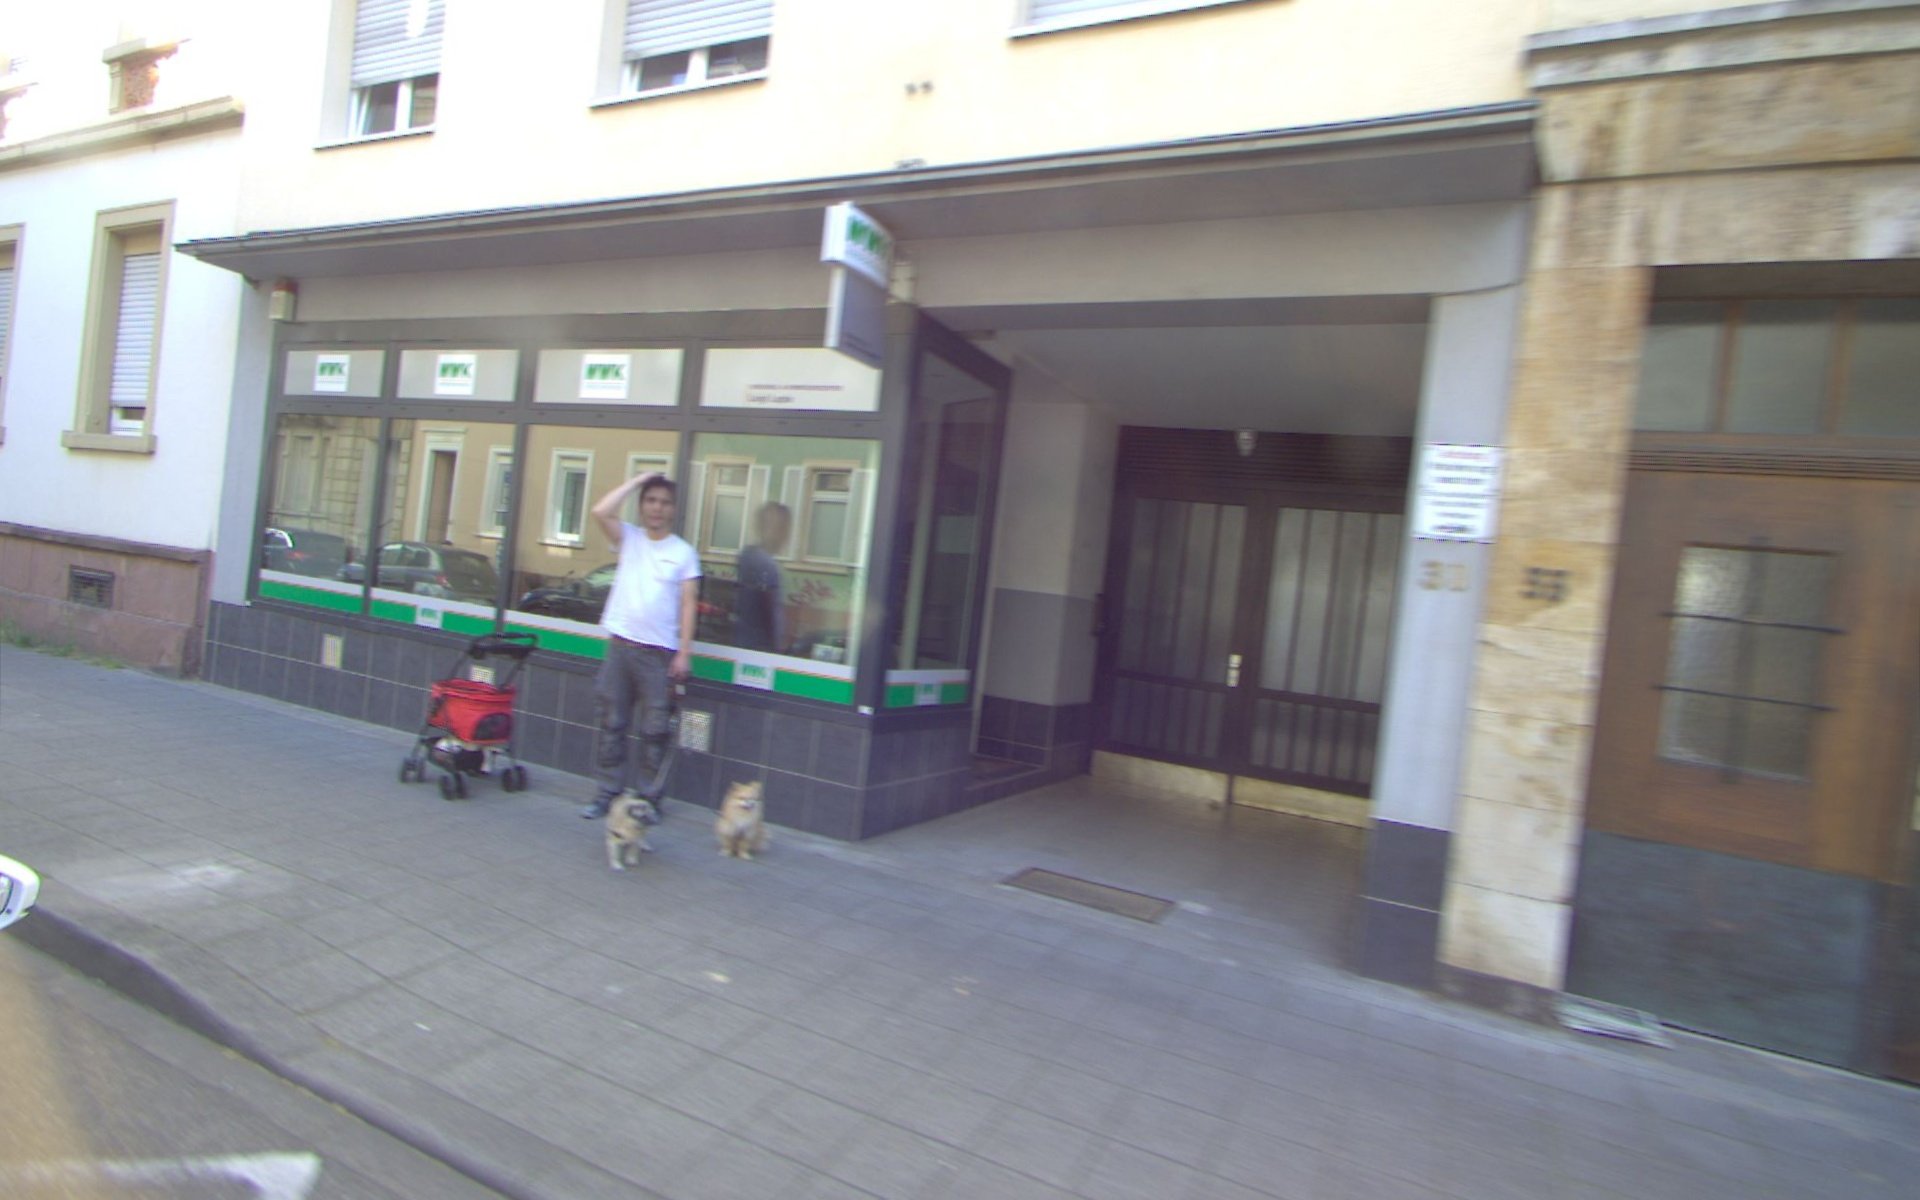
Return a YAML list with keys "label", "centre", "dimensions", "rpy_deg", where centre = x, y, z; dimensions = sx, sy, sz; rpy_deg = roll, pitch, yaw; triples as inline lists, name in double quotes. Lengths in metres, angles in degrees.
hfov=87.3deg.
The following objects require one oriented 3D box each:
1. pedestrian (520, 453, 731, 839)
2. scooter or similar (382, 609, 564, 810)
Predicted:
- label: "pedestrian"
  centre: [-1.774, 0.228, 5.412]
  dimensions: [0.734, 1.885, 0.650]
  rpy_deg: [6, 3, 5]
- label: "scooter or similar"
  centre: [-2.752, 0.585, 5.673]
  dimensions: [0.854, 0.957, 0.490]
  rpy_deg: [8, 3, 33]
